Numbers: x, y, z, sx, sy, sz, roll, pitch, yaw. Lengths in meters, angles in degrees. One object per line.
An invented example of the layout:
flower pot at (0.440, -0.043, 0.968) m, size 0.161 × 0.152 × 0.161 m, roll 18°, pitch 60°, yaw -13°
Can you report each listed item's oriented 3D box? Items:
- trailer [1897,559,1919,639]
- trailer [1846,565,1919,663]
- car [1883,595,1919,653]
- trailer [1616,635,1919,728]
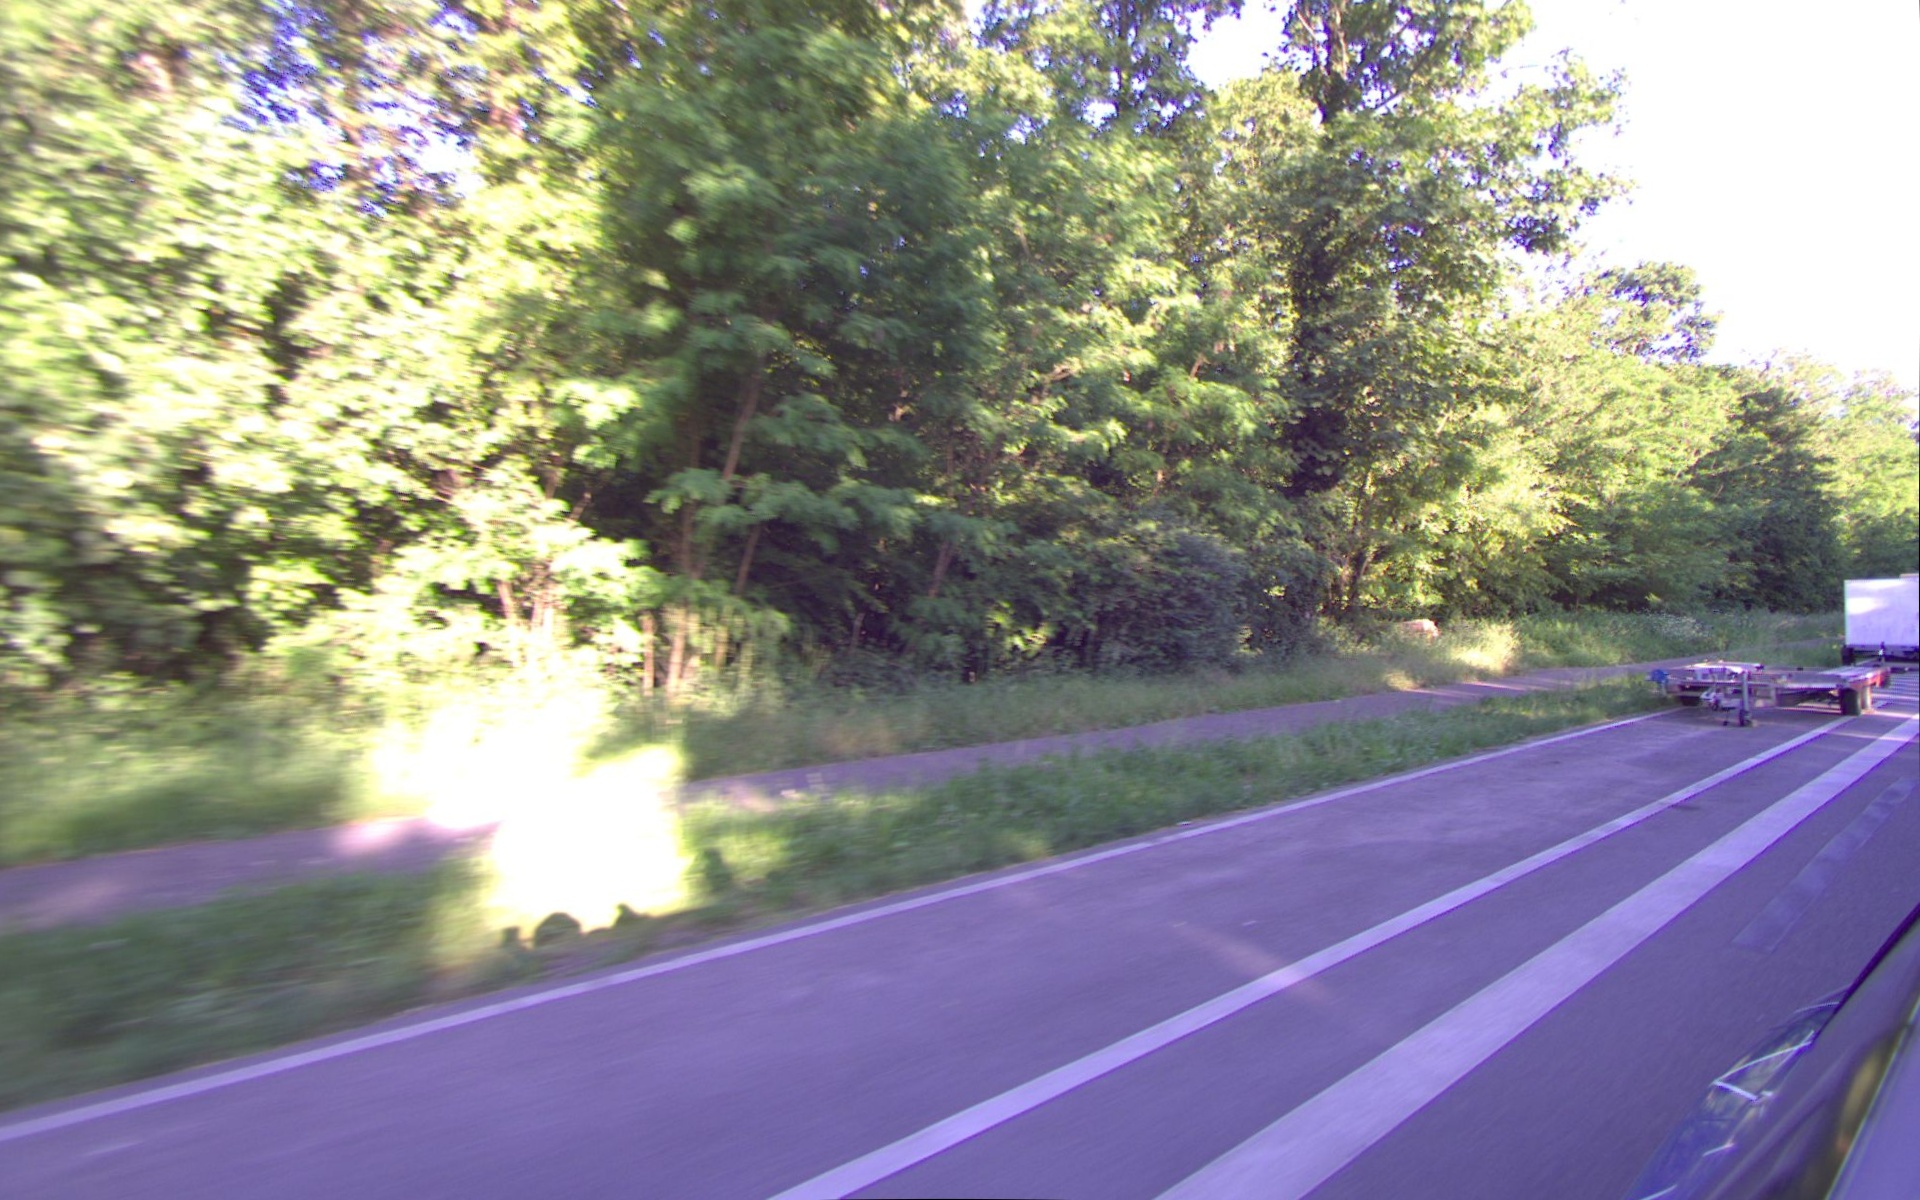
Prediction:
trailer at (38.664, -0.105, 38.959) m, size 9.715 × 2.878 × 2.924 m, roll -1°, pitch -1°, yaw -42°
trailer at (22.336, 0.297, 23.880) m, size 3.479 × 2.189 × 1.756 m, roll 0°, pitch 1°, yaw -42°
car at (26.795, 0.628, 27.637) m, size 4.490 × 1.486 × 1.891 m, roll 0°, pitch 0°, yaw -41°
trailer at (11.591, 1.026, 14.355) m, size 5.561 × 0.808 × 2.437 m, roll -1°, pitch 1°, yaw -41°
